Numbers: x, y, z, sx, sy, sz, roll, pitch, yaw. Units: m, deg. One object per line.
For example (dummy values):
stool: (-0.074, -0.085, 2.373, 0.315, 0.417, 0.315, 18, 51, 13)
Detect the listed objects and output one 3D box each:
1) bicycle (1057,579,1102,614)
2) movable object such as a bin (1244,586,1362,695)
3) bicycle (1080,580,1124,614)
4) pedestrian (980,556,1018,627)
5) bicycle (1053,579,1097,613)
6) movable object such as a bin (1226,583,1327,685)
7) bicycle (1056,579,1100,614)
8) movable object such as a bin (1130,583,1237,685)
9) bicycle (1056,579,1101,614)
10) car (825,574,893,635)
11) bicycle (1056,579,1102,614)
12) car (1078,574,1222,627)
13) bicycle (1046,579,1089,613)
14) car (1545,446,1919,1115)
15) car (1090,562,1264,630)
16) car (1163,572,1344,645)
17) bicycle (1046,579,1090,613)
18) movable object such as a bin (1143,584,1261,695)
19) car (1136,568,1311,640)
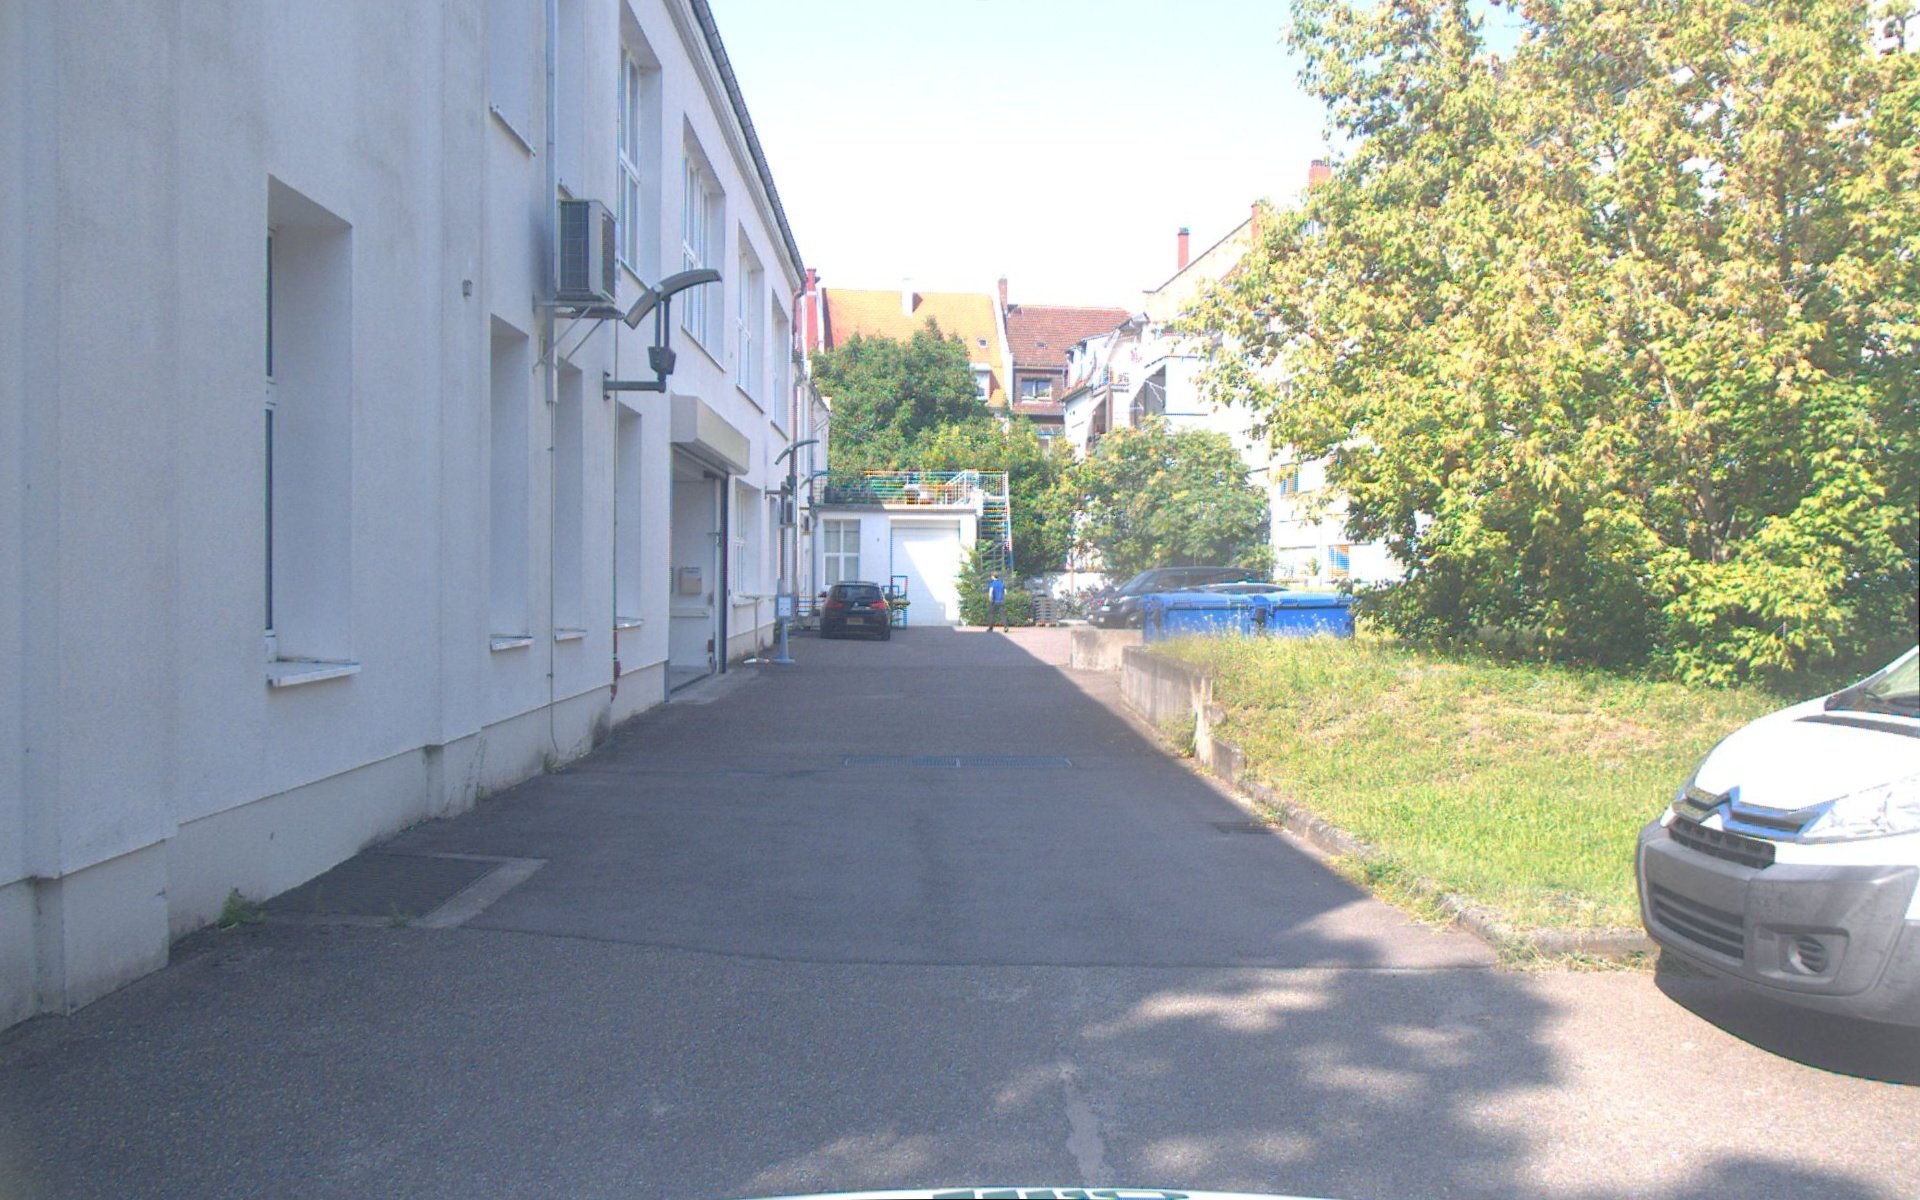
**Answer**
bicycle: (4.310, -0.128, 59.496, 1.590, 1.235, 0.327, -1, 1, 0)
movable object such as a bin: (4.392, 0.507, 21.252, 1.202, 1.364, 1.075, 1, 0, -6)
bicycle: (5.249, -0.127, 61.027, 1.588, 1.235, 0.424, 0, 1, 11)
pedestrian: (1.136, -0.252, 48.250, 0.875, 2.049, 0.776, 1, 0, -24)
bicycle: (4.213, -0.137, 60.603, 1.588, 1.235, 0.327, 0, 1, 11)
movable object such as a bin: (4.383, 0.458, 22.970, 1.209, 1.364, 1.117, 1, 0, 2)
bicycle: (4.298, -0.133, 60.241, 1.588, 1.235, 0.327, 0, 1, 8)
movable object such as a bin: (3.083, 0.460, 22.973, 1.274, 1.364, 1.194, 1, 0, -2)
bicycle: (4.274, -0.131, 59.789, 1.590, 1.235, 0.327, -1, 1, 0)
car: (-2.560, 0.094, 42.254, 1.655, 1.484, 3.921, 1, 0, -3)
bicycle: (4.252, -0.126, 59.173, 1.590, 1.235, 0.327, -1, 1, 0)
car: (5.557, 0.017, 48.518, 3.861, 1.508, 1.770, 0, 0, -11)
bicycle: (4.060, -0.152, 62.512, 1.592, 1.235, 0.423, -1, 1, -7)
car: (4.871, 0.574, 5.865, 4.855, 1.954, 2.044, 1, 0, 0)
car: (5.954, -0.121, 45.643, 4.419, 1.826, 1.878, 0, 0, -11)
car: (6.821, 0.190, 38.645, 3.788, 1.616, 1.877, 1, 0, -7)
bicycle: (4.012, -0.144, 61.274, 1.590, 1.235, 0.424, -1, 1, -2)
movable object such as a bin: (3.088, 0.491, 21.221, 1.283, 1.364, 1.099, 1, 0, -5)
car: (6.564, 0.086, 41.458, 4.036, 1.721, 1.770, 1, 0, -5)
